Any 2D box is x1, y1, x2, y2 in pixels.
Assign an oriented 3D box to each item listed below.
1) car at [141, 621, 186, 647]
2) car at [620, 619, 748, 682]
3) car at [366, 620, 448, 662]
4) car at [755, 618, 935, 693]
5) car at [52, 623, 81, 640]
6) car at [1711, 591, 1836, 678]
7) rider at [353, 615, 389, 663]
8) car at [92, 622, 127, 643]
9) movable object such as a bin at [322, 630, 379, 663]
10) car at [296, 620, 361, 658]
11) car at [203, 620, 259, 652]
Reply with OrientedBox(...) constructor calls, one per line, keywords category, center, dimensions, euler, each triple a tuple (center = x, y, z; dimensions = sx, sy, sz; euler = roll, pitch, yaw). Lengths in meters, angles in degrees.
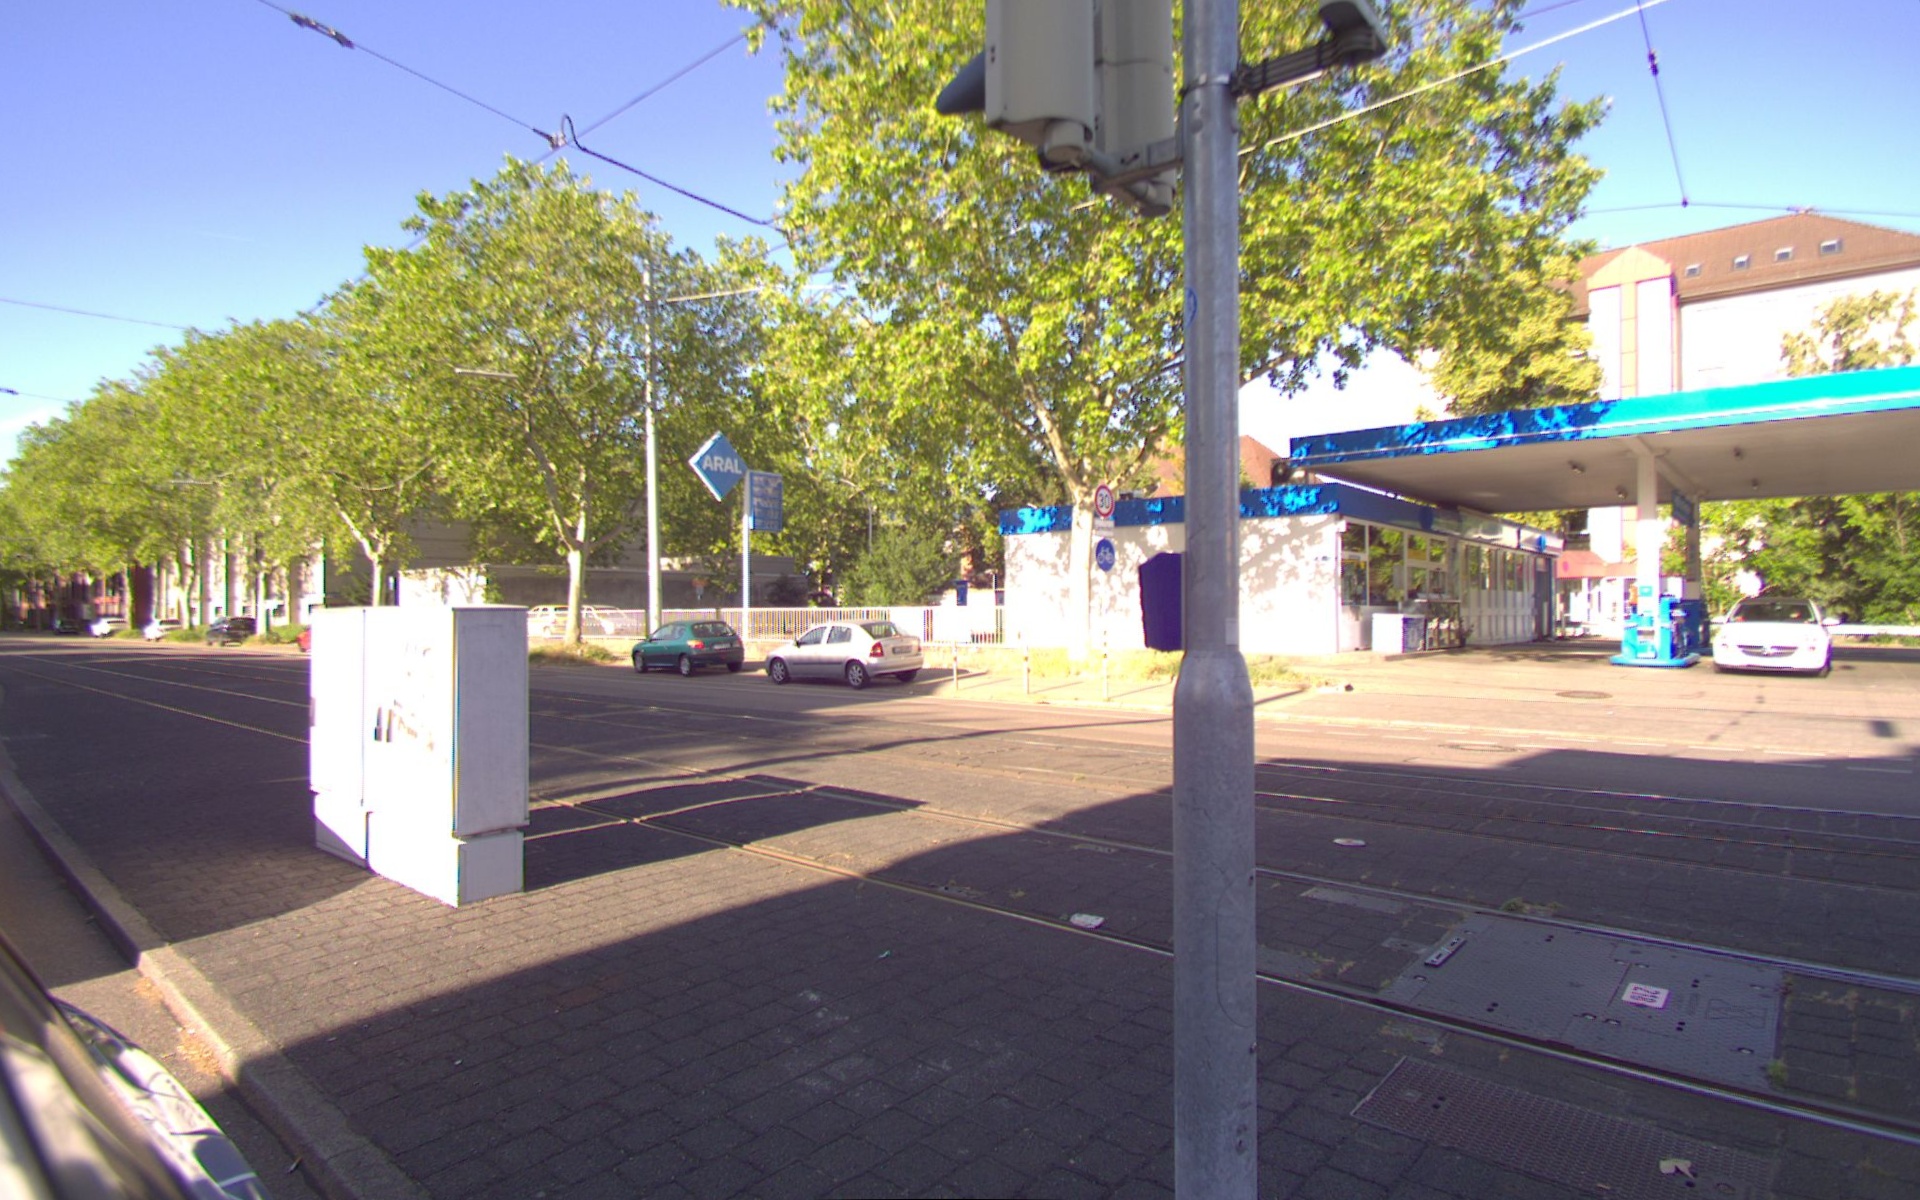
OrientedBox(category="car", center=(-53.698, 2.285, 68.231), dimensions=(3.878, 1.552, 1.731), euler=(-1, 2, 43))
OrientedBox(category="car", center=(-7.399, 1.294, 26.967), dimensions=(3.606, 1.455, 1.598), euler=(-1, 2, 43))
OrientedBox(category="car", center=(-21.814, 1.565, 39.872), dimensions=(3.769, 1.455, 1.701), euler=(-1, 2, 43))
OrientedBox(category="car", center=(-2.623, 1.186, 22.588), dimensions=(3.987, 1.376, 1.666), euler=(-2, 3, 41))
OrientedBox(category="car", center=(-85.036, 3.012, 96.315), dimensions=(3.731, 1.471, 1.639), euler=(-1, 2, 43))
OrientedBox(category="car", center=(15.892, 0.599, 19.702), dimensions=(1.743, 1.446, 3.882), euler=(-1, 1, 41))
OrientedBox(category="rider", center=(-21.140, 1.389, 36.332), dimensions=(1.104, 1.660, 0.717), euler=(-1, 0, 36))
OrientedBox(category="car", center=(-66.764, 2.499, 79.421), dimensions=(3.731, 1.471, 1.639), euler=(-1, 2, 43))
OrientedBox(category="movable object such as a bin", center=(-22.321, 1.692, 37.046), dimensions=(1.831, 1.111, 1.164), euler=(-1, 0, 36))
OrientedBox(category="car", center=(-28.688, 1.740, 45.939), dimensions=(3.377, 1.506, 1.639), euler=(-1, 2, 43))
OrientedBox(category="car", center=(-40.722, 1.984, 56.489), dimensions=(3.878, 1.603, 1.731), euler=(-1, 2, 43))
